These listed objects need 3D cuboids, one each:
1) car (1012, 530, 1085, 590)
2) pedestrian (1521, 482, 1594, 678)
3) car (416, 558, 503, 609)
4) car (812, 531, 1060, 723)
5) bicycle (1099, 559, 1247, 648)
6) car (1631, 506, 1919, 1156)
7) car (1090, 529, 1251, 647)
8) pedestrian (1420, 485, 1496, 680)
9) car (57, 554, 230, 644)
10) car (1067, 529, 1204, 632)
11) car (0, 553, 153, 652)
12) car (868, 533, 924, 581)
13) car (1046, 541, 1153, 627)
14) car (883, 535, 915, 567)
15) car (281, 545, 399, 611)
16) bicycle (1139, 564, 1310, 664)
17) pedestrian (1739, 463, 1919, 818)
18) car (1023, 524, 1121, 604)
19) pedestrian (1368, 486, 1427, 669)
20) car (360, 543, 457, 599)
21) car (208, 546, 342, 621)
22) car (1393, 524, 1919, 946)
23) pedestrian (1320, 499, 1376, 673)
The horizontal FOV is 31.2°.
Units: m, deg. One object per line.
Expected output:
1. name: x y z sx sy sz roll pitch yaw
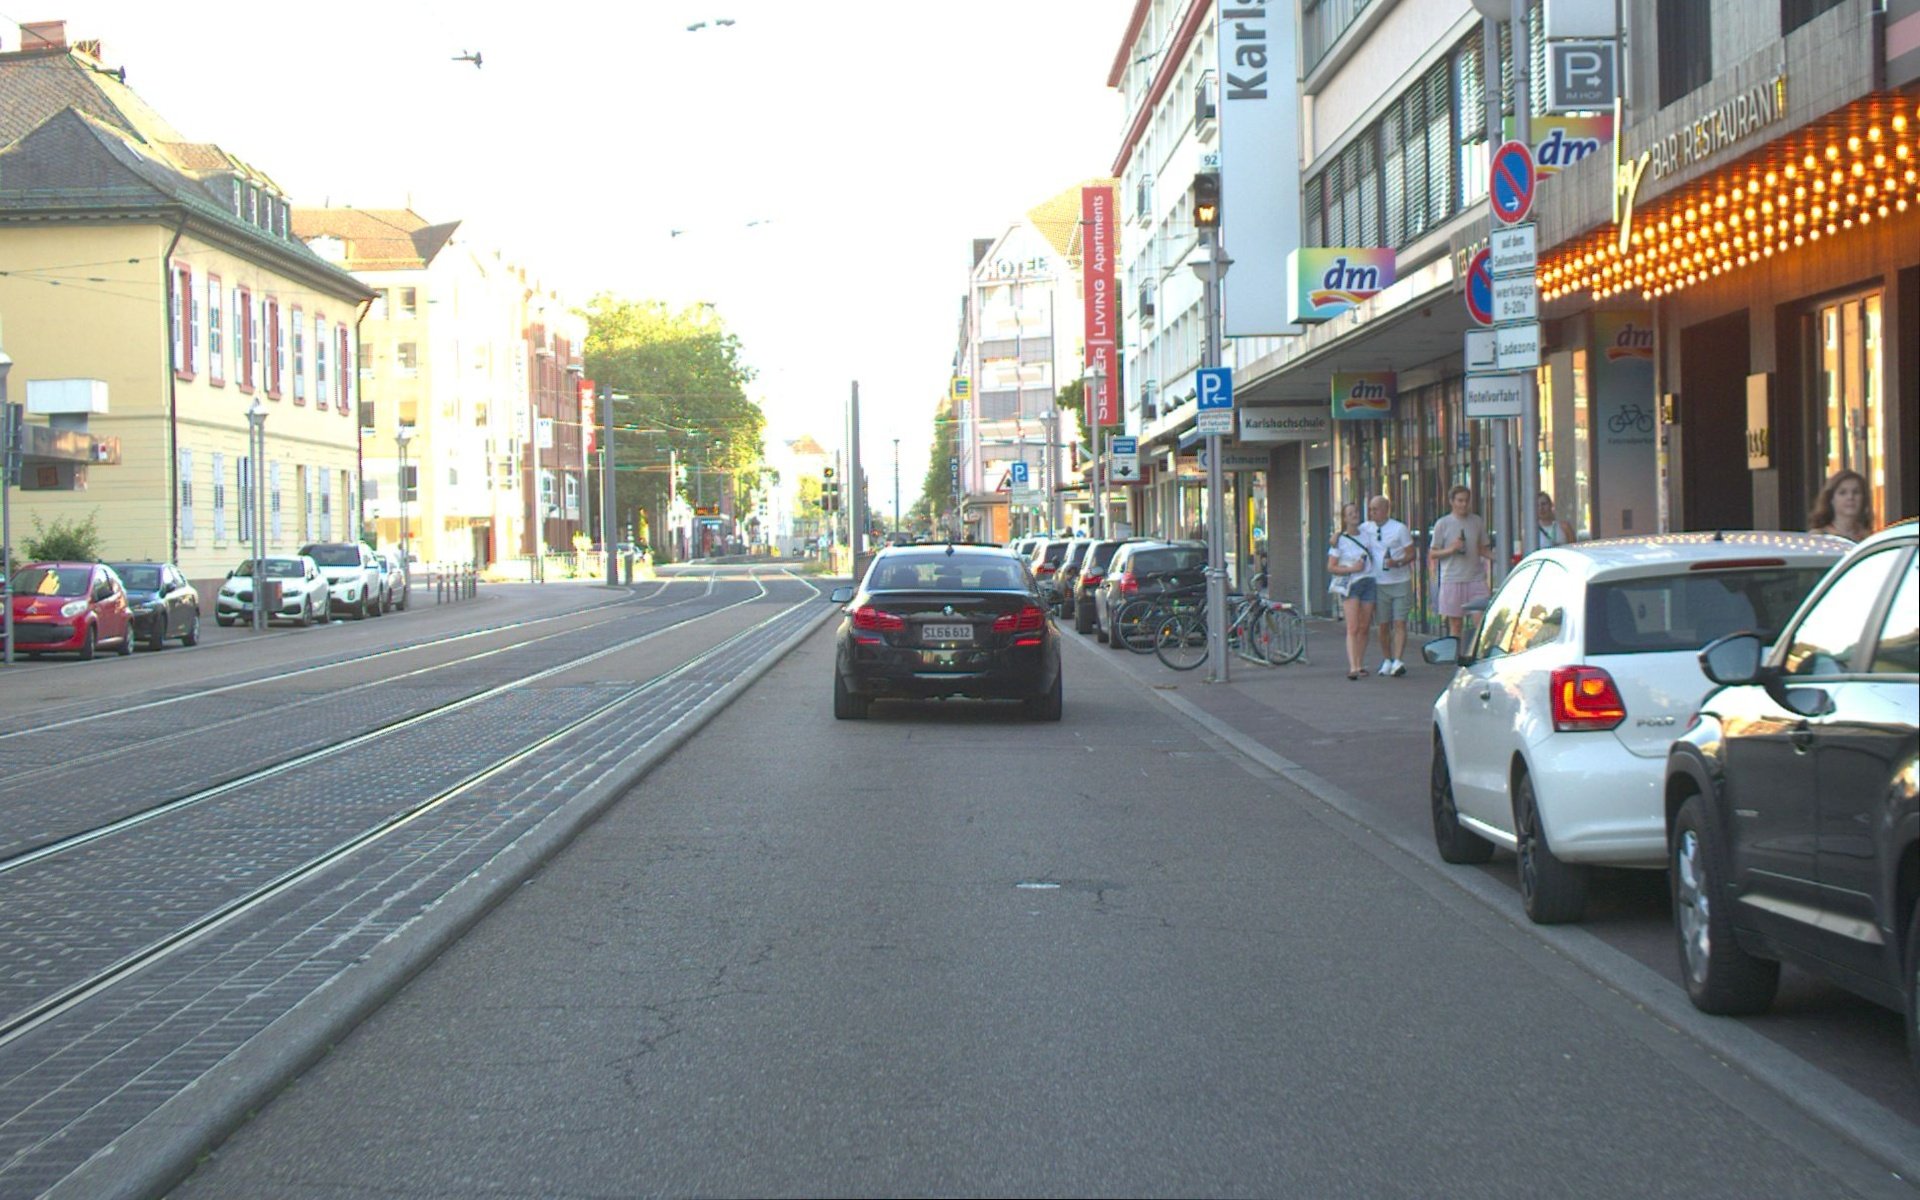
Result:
1. car: 2.287 -1.039 89.935 1.774 1.543 3.503 0 0 -1
2. pedestrian: 5.547 -0.194 31.950 0.508 1.786 0.760 -1 1 0
3. car: -14.607 -0.490 100.506 1.928 1.430 4.246 0 1 0
4. car: -0.157 0.173 29.665 1.953 1.493 4.465 1 1 1
5. bicycle: 2.715 0.048 43.904 1.861 1.115 0.468 0 0 1
6. car: 3.062 0.505 9.238 1.654 1.532 3.886 -2 1 -1
7. car: 2.845 -0.176 47.247 1.903 1.543 4.000 0 0 -1
8. pedestrian: 4.651 -0.166 32.138 0.554 1.785 0.760 -1 1 -1
9. car: -13.669 -0.046 57.796 1.928 1.430 4.246 0 1 0
10. car: 2.715 -0.304 53.962 1.903 1.543 3.780 0 0 -1
11. car: -13.851 0.013 52.808 1.928 1.430 4.246 0 1 0
12. car: -2.078 -1.387 111.517 1.774 1.543 3.503 0 0 -1
13. car: 2.537 -0.301 63.357 1.774 1.543 3.503 0 0 -1
14. car: -3.874 -3.121 217.716 1.993 1.832 4.000 0 -2 -1
15. car: -13.909 -0.510 77.349 1.928 1.430 4.246 0 1 0
16. bicycle: 2.924 0.154 38.096 1.861 1.076 0.468 0 0 1
17. pedestrian: 4.170 0.183 16.420 0.556 1.641 0.760 -2 1 -15
18. car: 2.214 -0.718 68.683 1.774 1.543 3.503 0 0 -1
19. pedestrian: 4.335 -0.224 34.068 0.488 1.784 0.760 -1 1 3
20. car: -14.624 -0.786 91.336 1.928 1.430 4.246 0 1 0
21. car: -14.144 -0.362 71.182 1.928 1.430 4.246 -2 1 0
22. car: 2.857 0.446 14.220 1.559 1.437 3.709 -3 1 0
23. pedestrian: 3.845 -0.143 34.085 0.475 1.693 0.752 -1 1 3
